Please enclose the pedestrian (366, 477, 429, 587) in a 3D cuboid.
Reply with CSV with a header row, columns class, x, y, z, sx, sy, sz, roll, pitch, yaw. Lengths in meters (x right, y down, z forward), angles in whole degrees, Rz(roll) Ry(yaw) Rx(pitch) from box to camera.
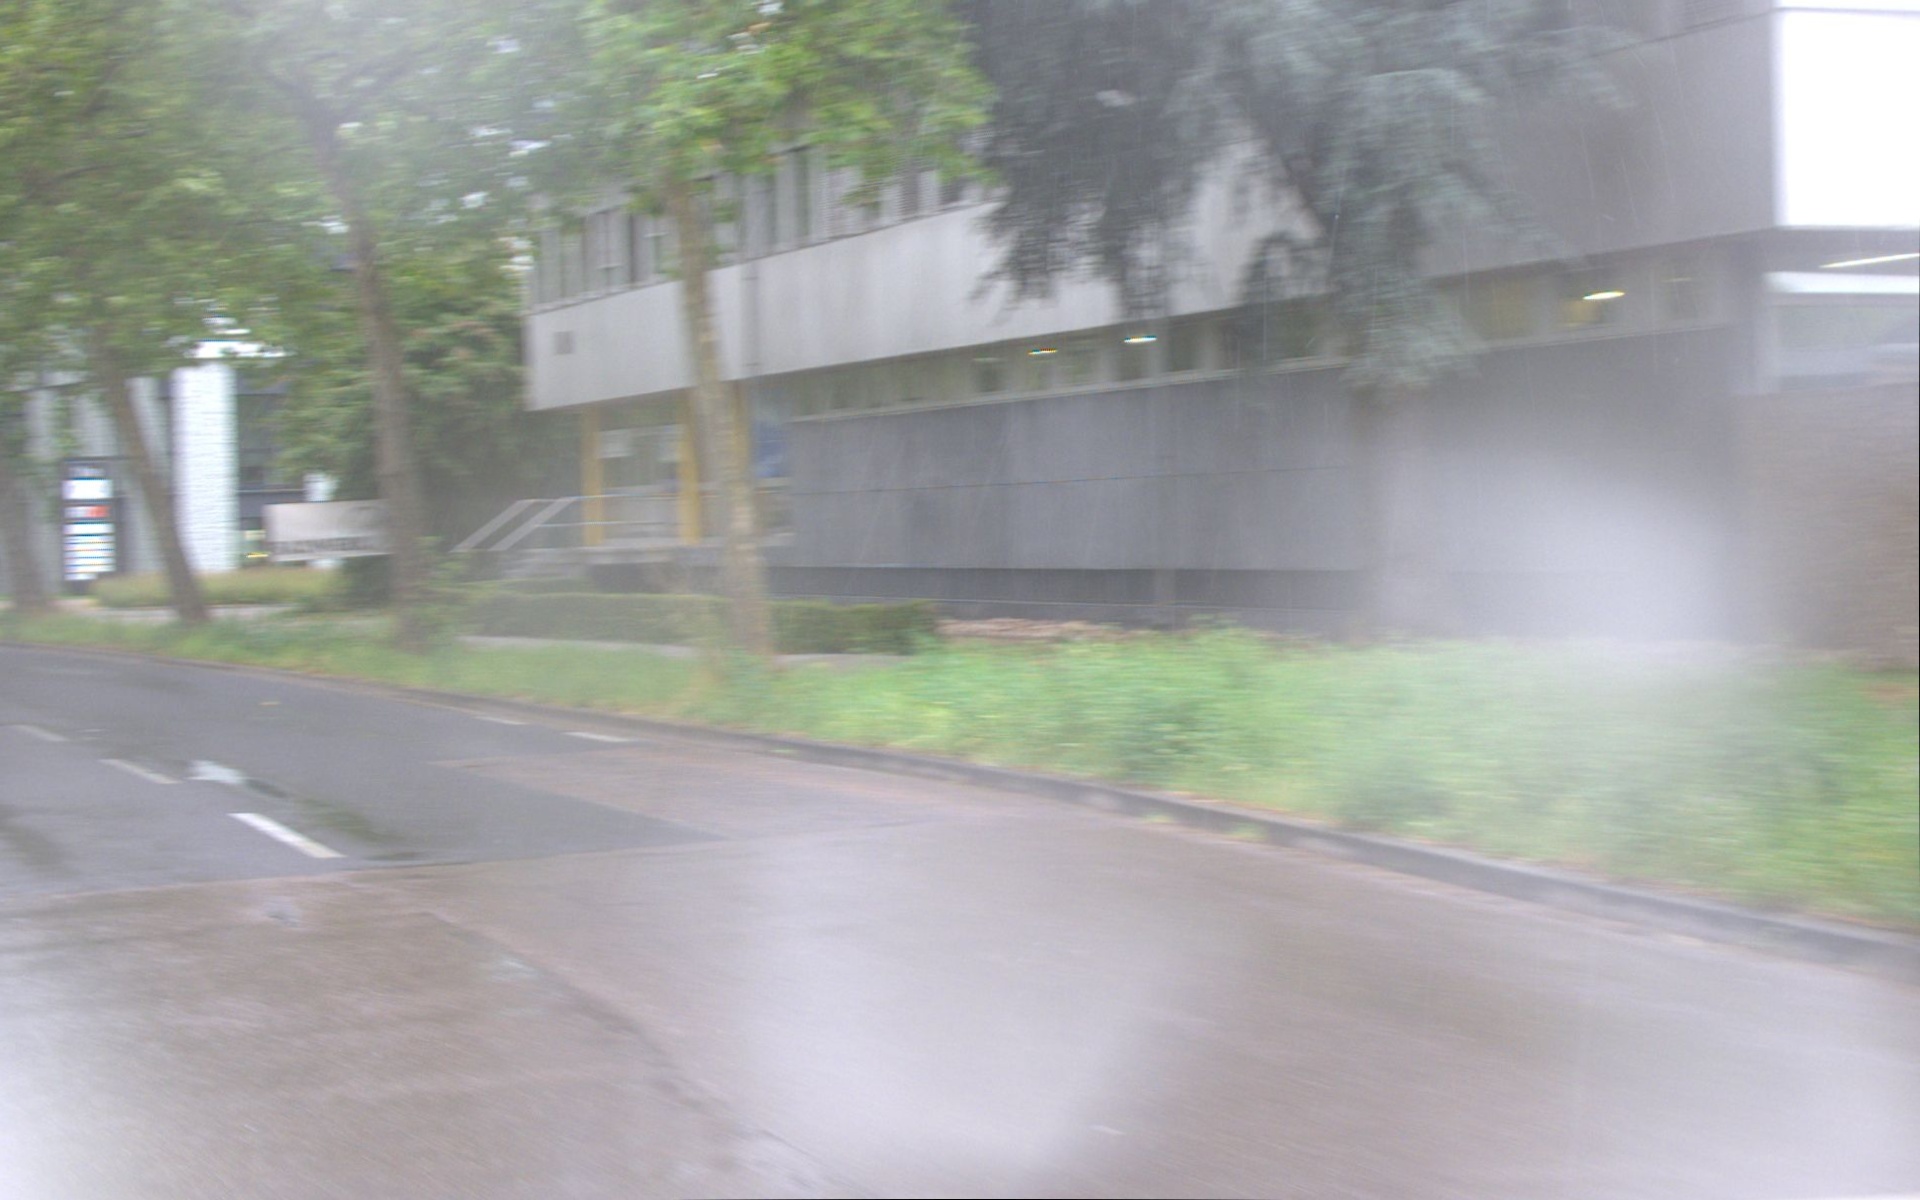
class,x,y,z,sx,sy,sz,roll,pitch,yaw
pedestrian,-8.679,-1.062,53.038,0.671,1.662,0.825,-2,3,-29
